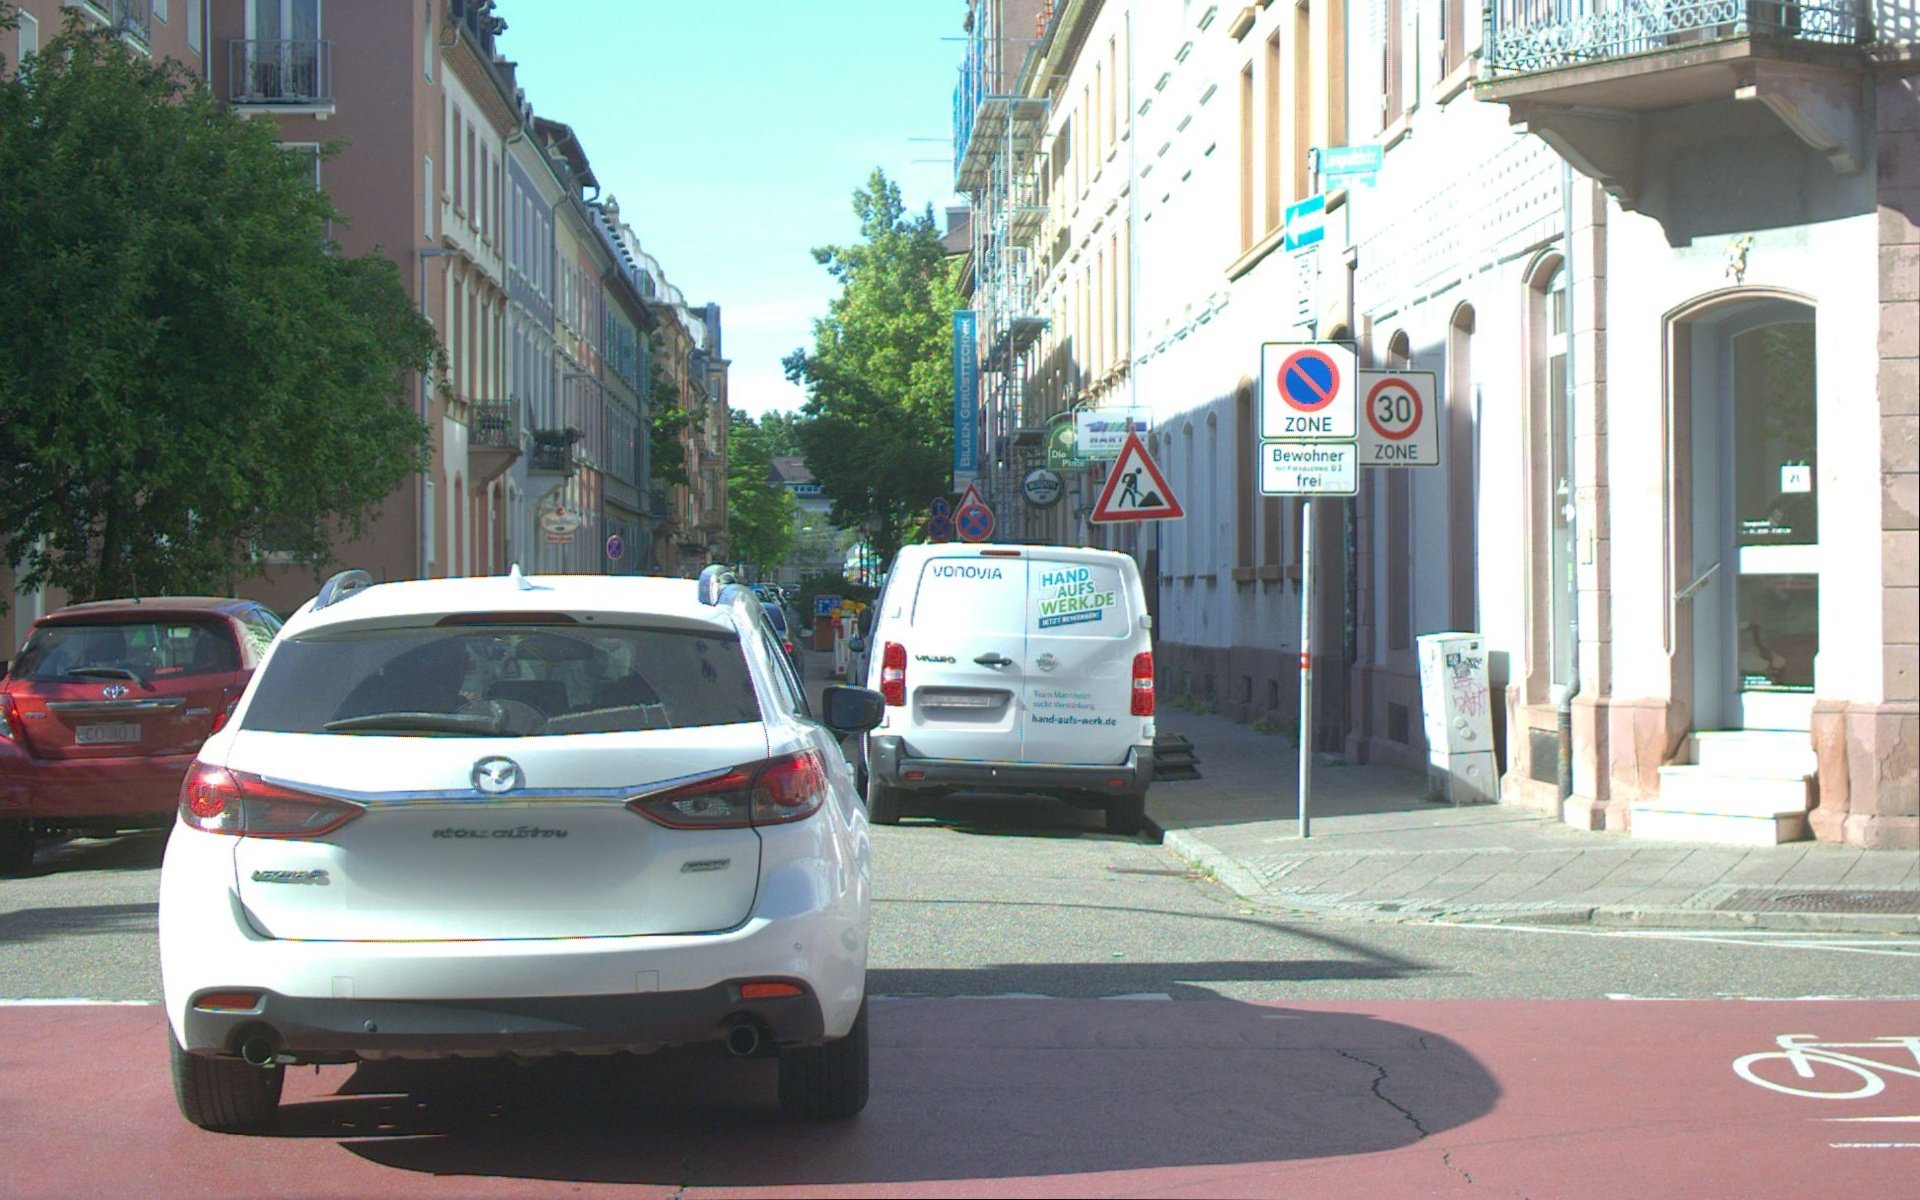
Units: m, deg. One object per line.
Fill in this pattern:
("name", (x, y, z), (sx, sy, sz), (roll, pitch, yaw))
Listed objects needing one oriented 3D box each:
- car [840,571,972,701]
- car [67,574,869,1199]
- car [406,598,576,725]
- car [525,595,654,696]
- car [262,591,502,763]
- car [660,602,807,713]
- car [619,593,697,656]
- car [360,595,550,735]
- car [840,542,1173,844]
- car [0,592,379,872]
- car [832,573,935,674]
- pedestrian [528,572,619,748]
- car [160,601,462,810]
("car", (-0.851, 0.550, 54.839), (1.894, 1.853, 3.995), (-5, 0, -1))
("car", (-1.189, 0.665, 9.943), (1.831, 1.452, 3.962), (0, 0, -1))
("car", (-5.756, 0.723, 42.560), (1.653, 1.495, 3.763), (0, 0, -1))
("car", (-5.695, 0.676, 53.162), (1.653, 1.495, 3.763), (0, 0, -1))
("car", (-5.285, 0.670, 31.812), (1.653, 1.495, 3.763), (0, 0, -1))
("car", (-2.992, 0.734, 46.089), (1.760, 1.405, 4.328), (0, 0, -1))
("car", (-7.370, 0.585, 84.254), (1.653, 1.495, 3.763), (0, 0, -1))
("car", (-5.624, 0.693, 38.644), (1.653, 1.495, 3.763), (0, 0, -1))
("car", (0.210, 0.586, 24.339), (1.894, 1.853, 5.014), (2, 0, -4))
("car", (-4.641, 0.719, 20.662), (1.685, 1.495, 3.807), (-1, 0, -1))
("car", (-1.446, 0.429, 65.488), (1.894, 1.853, 3.995), (0, 0, -1))
("pedestrian", (-3.604, 0.549, 32.000), (0.733, 1.608, 0.816), (-1, 0, -13))
("car", (-4.969, 0.764, 26.799), (1.653, 1.495, 4.080), (0, 0, -1))
